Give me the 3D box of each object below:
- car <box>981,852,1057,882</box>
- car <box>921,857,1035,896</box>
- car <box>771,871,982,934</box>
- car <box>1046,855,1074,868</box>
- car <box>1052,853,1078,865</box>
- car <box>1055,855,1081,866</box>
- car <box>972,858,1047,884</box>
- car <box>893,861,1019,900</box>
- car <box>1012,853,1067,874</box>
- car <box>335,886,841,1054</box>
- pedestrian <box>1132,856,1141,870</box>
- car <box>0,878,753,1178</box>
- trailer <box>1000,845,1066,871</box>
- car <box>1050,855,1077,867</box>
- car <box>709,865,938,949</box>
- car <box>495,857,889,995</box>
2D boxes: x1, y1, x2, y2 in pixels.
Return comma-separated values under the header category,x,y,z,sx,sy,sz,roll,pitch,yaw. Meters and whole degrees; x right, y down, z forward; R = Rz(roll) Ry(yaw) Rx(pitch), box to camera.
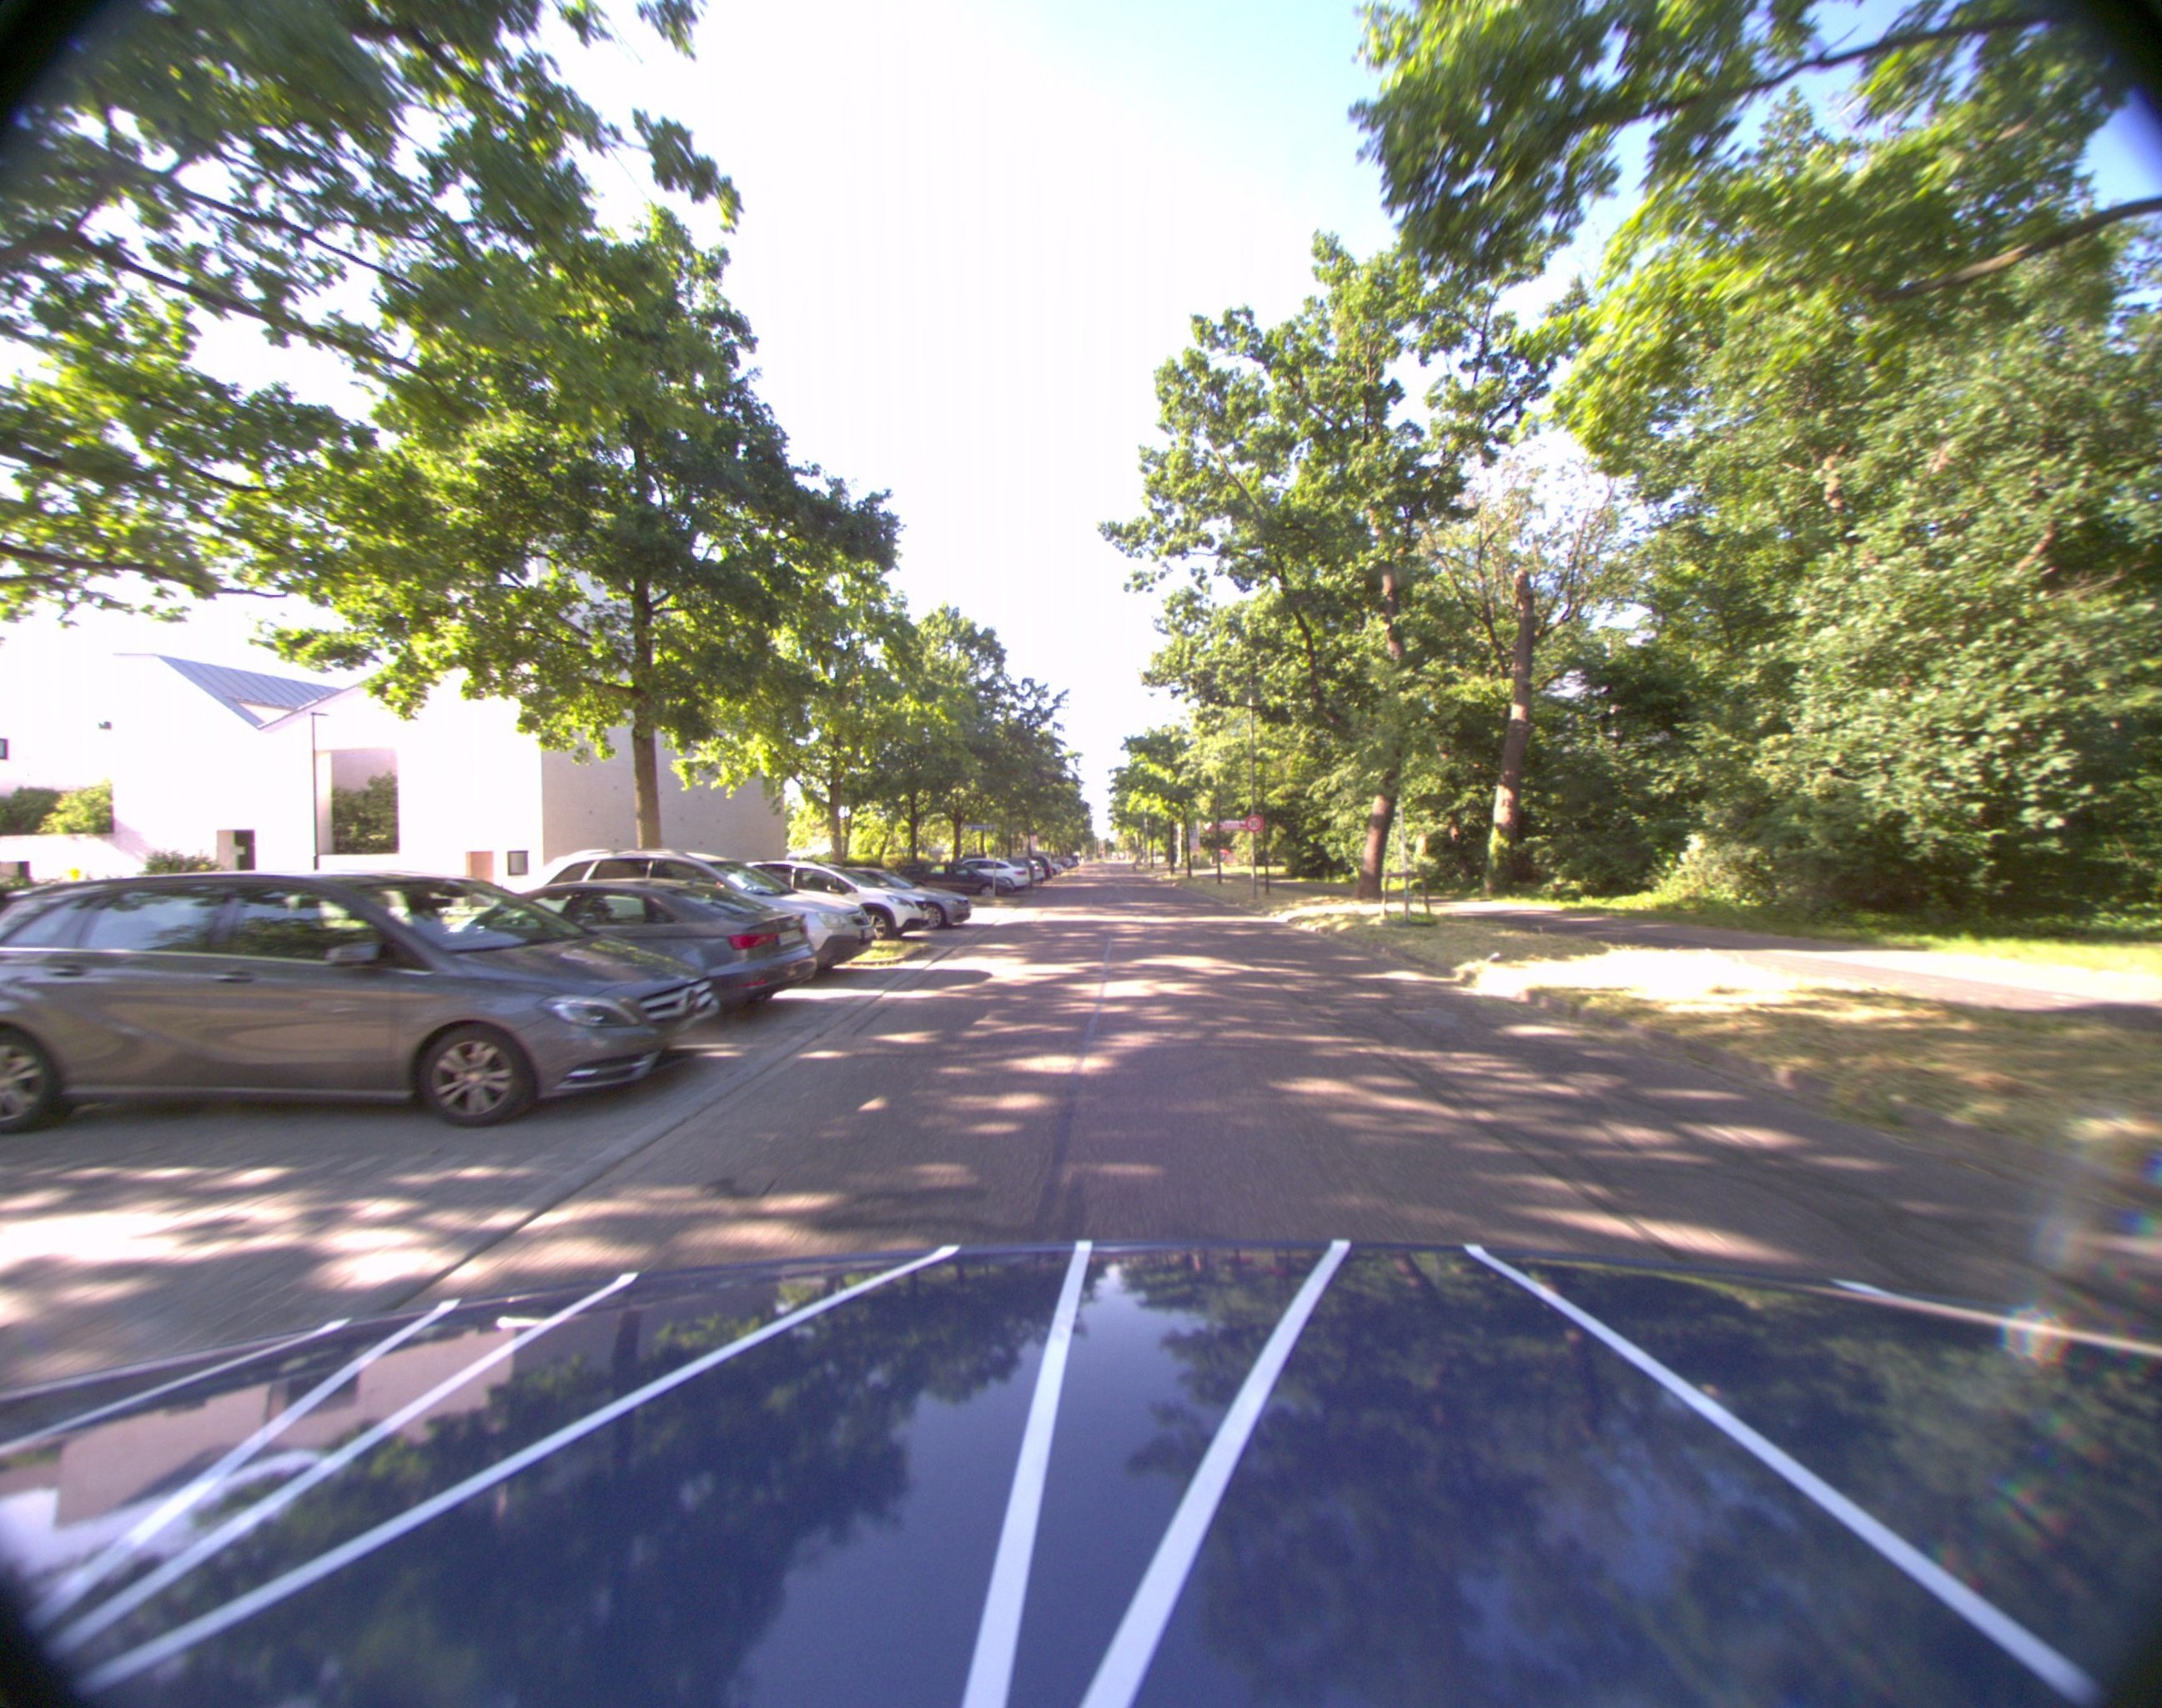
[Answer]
category,x,y,z,sx,sy,sz,roll,pitch,yaw
car,-3.818,0.779,47.445,4.541,1.790,1.936,0,0,1
car,-4.425,0.951,33.134,4.682,1.571,1.917,1,0,2
car,-4.711,1.102,17.996,4.456,1.382,1.911,0,0,1
car,-2.722,0.984,99.524,3.592,1.567,1.857,1,1,0
car,-2.448,0.800,116.507,4.019,1.826,1.799,1,1,-1
car,-1.876,0.979,109.115,3.529,1.523,1.665,1,1,3
car,-4.197,0.999,45.011,4.231,1.463,1.800,1,0,3
car,-4.881,1.037,30.145,4.682,1.447,1.917,1,0,1
car,-3.637,0.810,67.003,4.653,1.712,1.988,1,0,2
car,-4.811,1.106,7.854,3.996,1.425,1.901,-1,0,3
pedestrian,5.950,0.960,81.864,0.942,1.491,0.885,0,0,3
car,-4.835,1.026,5.277,4.223,1.559,1.933,-1,0,0
trailer,-4.368,0.367,69.798,5.787,2.304,1.686,1,0,3
car,-2.373,0.987,104.451,3.591,1.567,1.786,1,1,3
car,-4.948,0.995,14.998,3.894,1.488,1.777,1,0,1
car,-5.049,0.901,10.339,4.395,1.641,1.851,1,0,0
